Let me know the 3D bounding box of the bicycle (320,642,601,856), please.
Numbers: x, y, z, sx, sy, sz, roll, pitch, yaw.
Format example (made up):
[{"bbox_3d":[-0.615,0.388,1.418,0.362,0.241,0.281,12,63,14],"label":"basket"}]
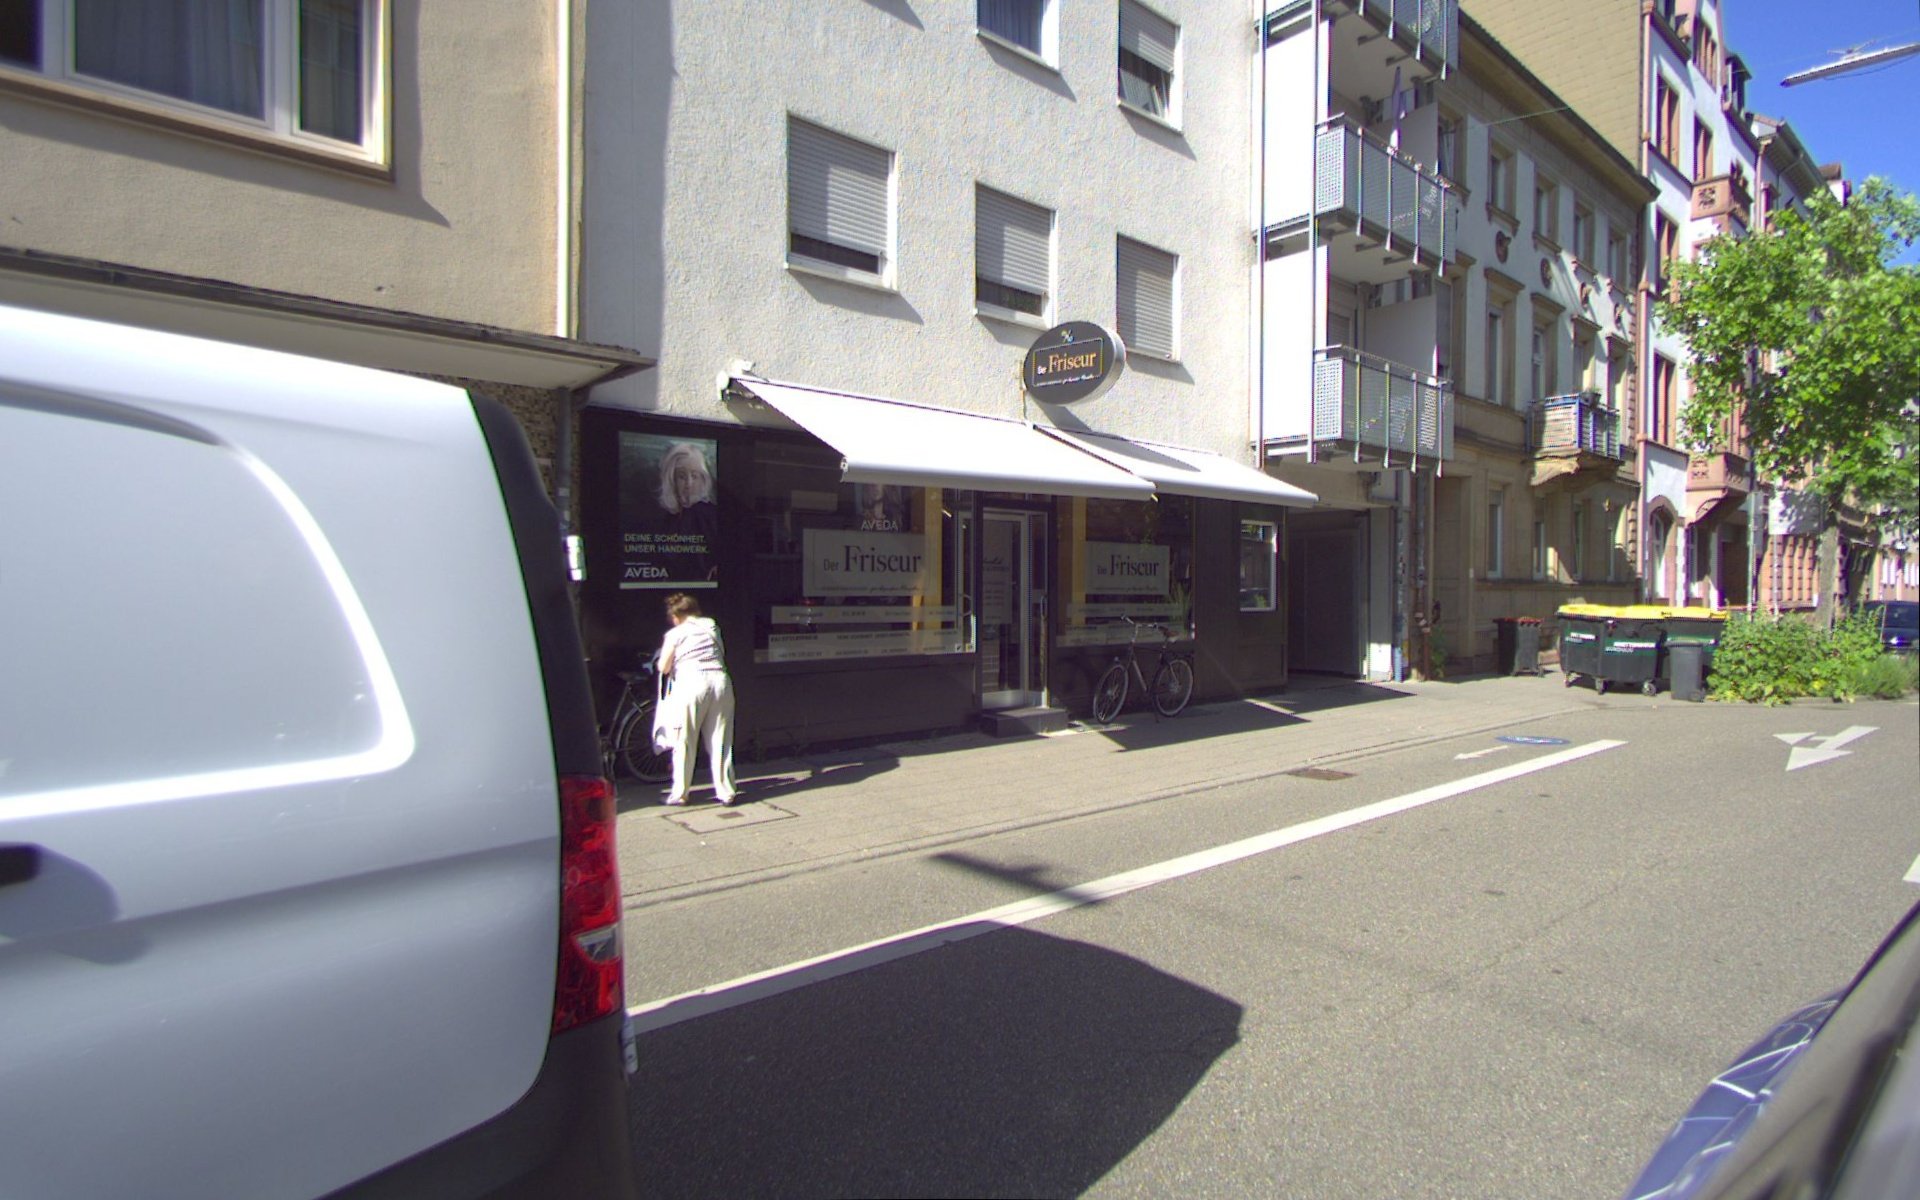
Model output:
[{"bbox_3d":[-3.065,0.858,6.239,1.475,1.120,0.719,1,0,18],"label":"bicycle"}]

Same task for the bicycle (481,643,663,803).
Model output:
[{"bbox_3d":[-2.738,0.834,7.207,1.155,0.995,0.375,0,1,-43],"label":"bicycle"}]

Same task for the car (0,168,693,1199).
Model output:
[{"bbox_3d":[-2.800,0.504,0.627,4.750,1.833,1.971,-1,1,-42],"label":"car"}]

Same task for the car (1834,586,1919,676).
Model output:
[{"bbox_3d":[18.289,0.538,19.566,3.485,1.616,1.626,0,1,-41],"label":"car"}]

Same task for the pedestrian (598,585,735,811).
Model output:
[{"bbox_3d":[-2.056,0.632,7.077,0.774,1.460,0.615,2,1,45],"label":"pedestrian"}]

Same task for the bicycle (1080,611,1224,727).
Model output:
[{"bbox_3d":[2.182,0.731,11.362,1.743,1.157,0.598,0,3,-41],"label":"bicycle"}]
